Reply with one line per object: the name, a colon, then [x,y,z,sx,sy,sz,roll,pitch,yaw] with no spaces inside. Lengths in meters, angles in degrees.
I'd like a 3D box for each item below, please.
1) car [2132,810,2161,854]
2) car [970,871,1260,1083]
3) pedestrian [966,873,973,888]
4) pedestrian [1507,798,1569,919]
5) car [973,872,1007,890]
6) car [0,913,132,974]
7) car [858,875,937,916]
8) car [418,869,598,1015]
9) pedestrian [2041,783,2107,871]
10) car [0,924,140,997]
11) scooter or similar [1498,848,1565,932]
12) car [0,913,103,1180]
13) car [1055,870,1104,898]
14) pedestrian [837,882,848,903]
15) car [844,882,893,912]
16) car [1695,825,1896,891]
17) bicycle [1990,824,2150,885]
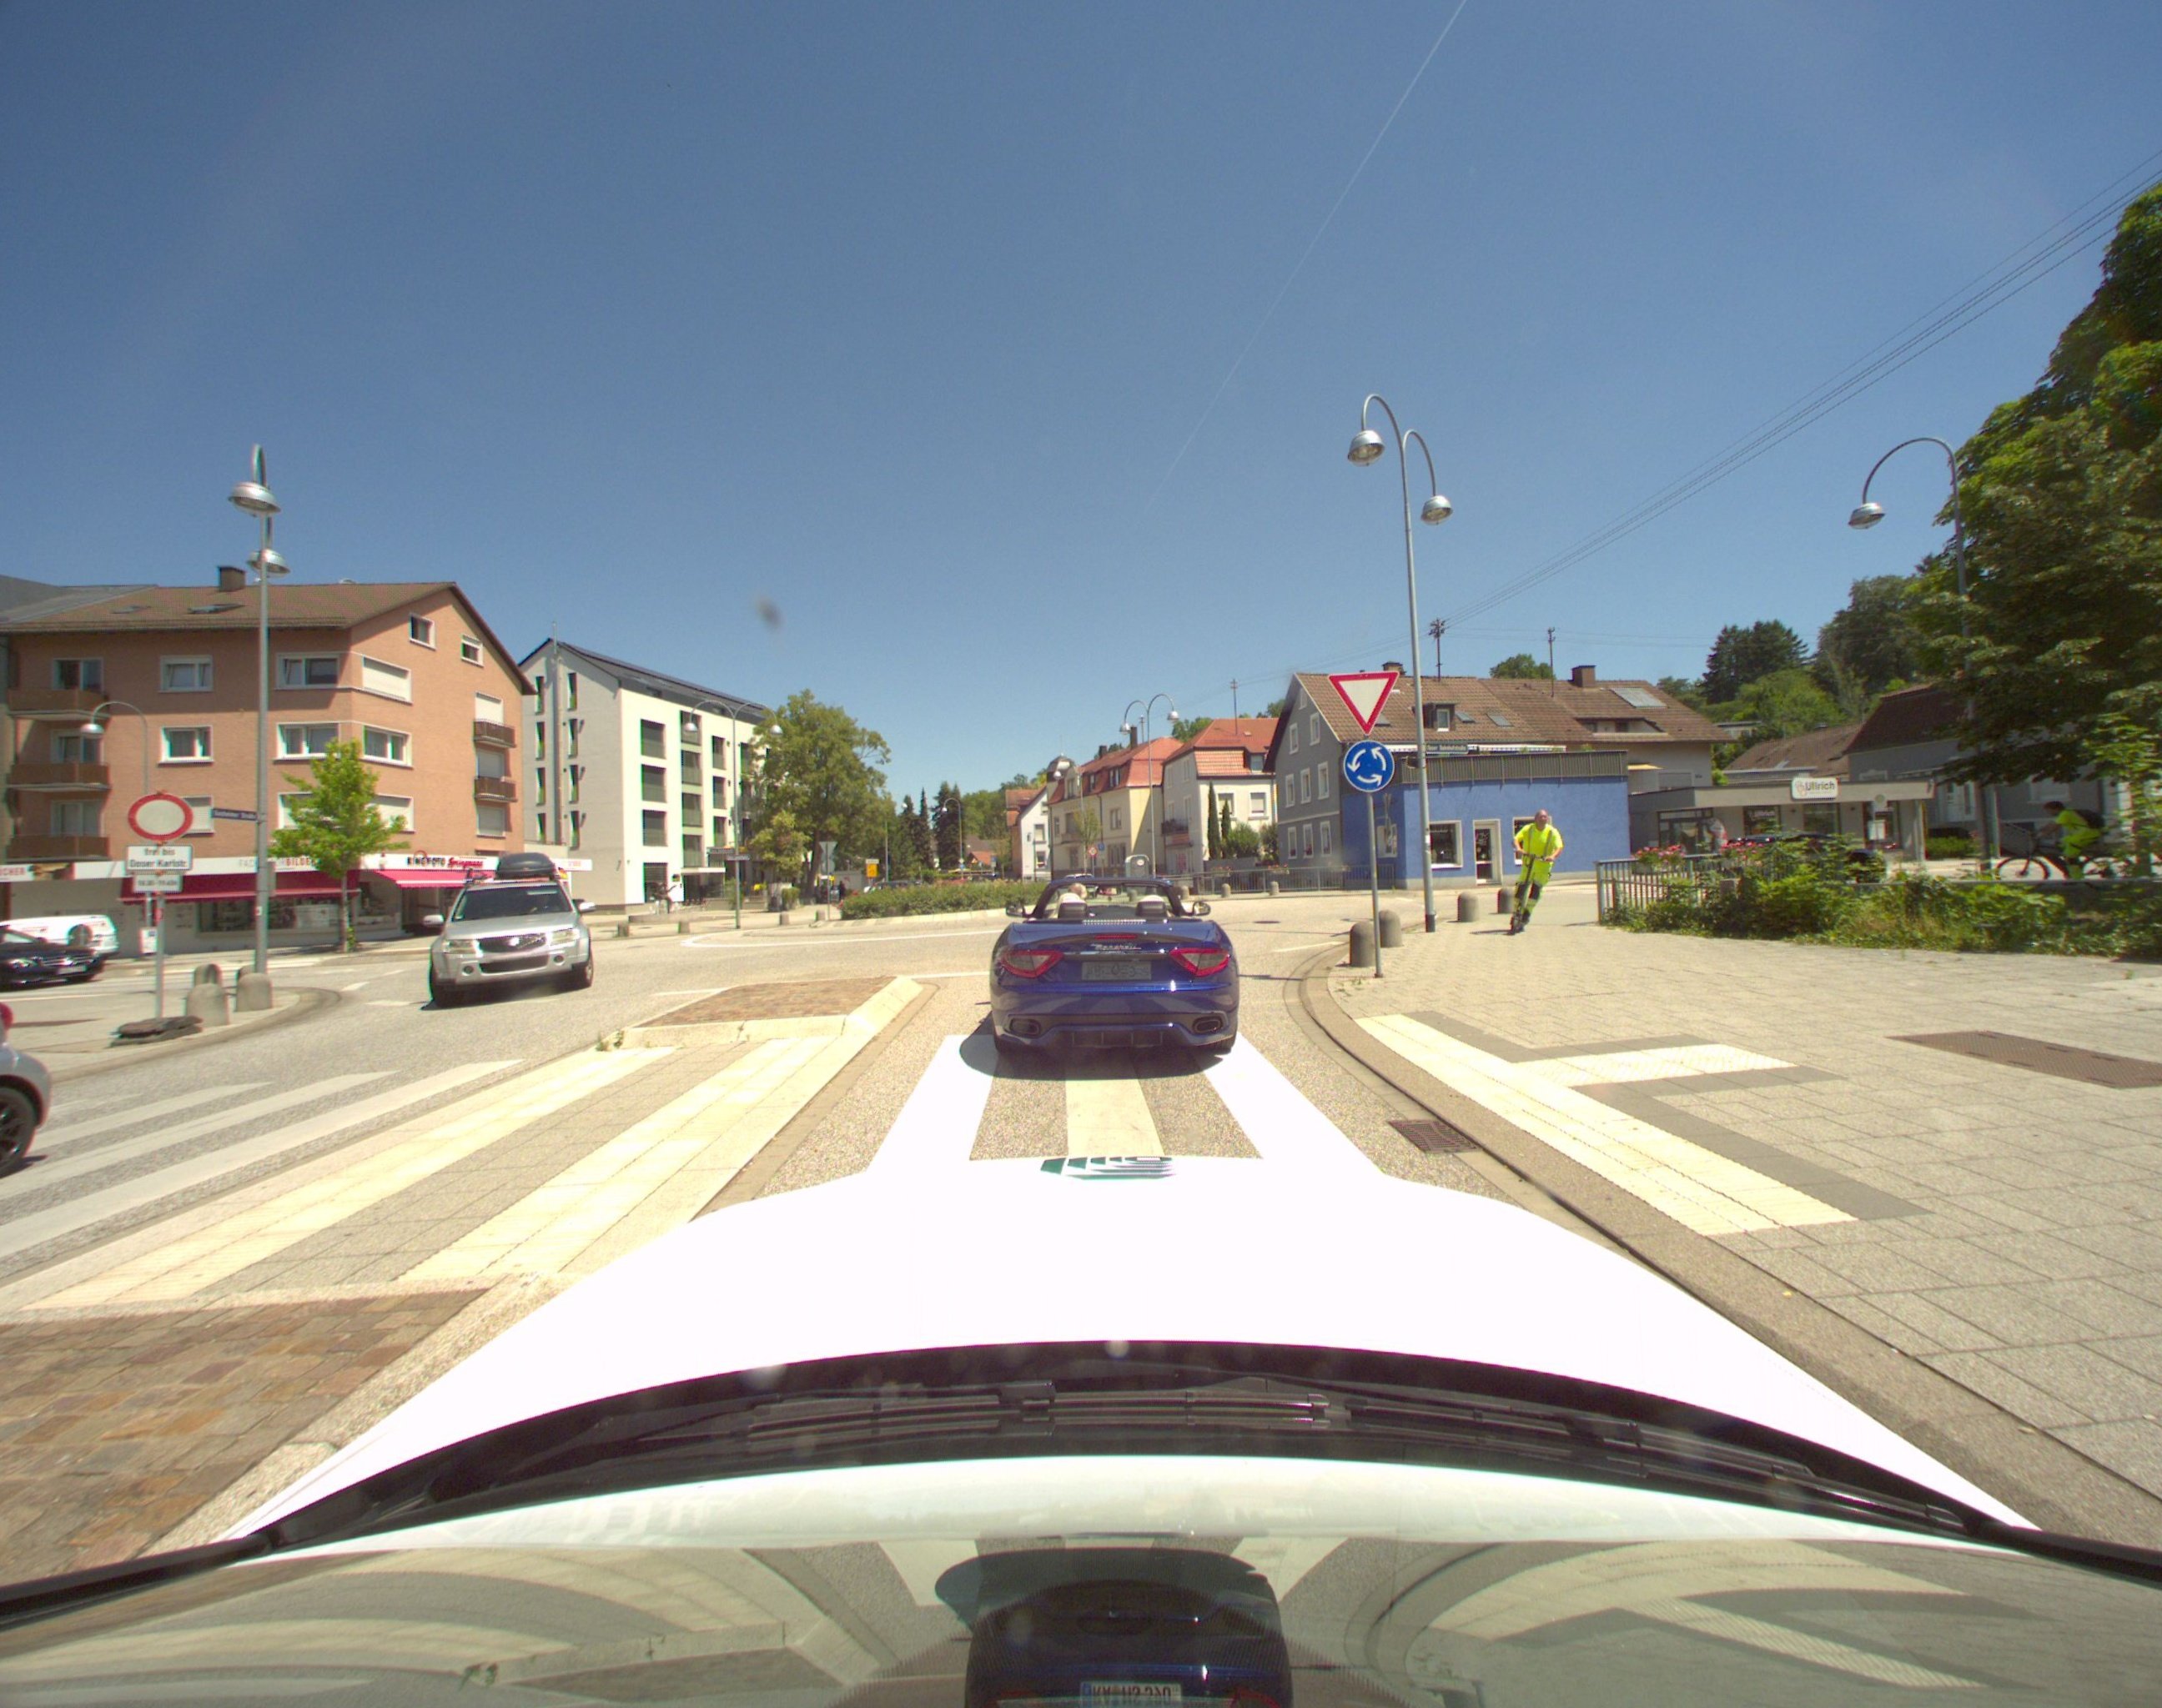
car: [40.545,-0.893,29.110,3.656,1.552,1.776,-3,-2,-2]
car: [0.341,0.872,7.575,1.902,1.360,4.288,-2,-1,3]
pedestrian: [-12.412,2.955,90.662,0.614,1.585,0.582,-2,-1,-25]
pedestrian: [7.140,0.071,12.724,0.671,1.799,0.743,-5,-1,33]
car: [-8.820,2.621,78.871,1.861,1.588,3.962,-3,-1,-28]
car: [-34.488,2.967,26.722,3.994,1.750,1.793,-3,-1,-15]
car: [-8.313,1.851,37.310,1.784,1.642,4.075,-3,-2,15]
car: [-8.724,1.240,12.581,1.846,1.688,4.157,-6,0,-34]
pedestrian: [19.109,-0.510,15.691,0.751,1.632,0.710,-2,-2,-41]
car: [-25.629,2.606,18.969,4.506,1.403,1.769,-4,1,-18]
scooter or similar: [7.023,0.545,12.741,0.525,1.222,1.244,-3,-1,13]
car: [-6.576,1.116,3.239,1.577,1.450,3.455,-4,0,-13]
car: [-0.151,1.937,51.489,1.924,1.613,4.121,-3,-2,-18]
pedestrian: [-18.433,2.946,62.829,0.531,1.576,0.564,-3,-1,12]
car: [-11.650,2.338,44.950,1.991,1.509,3.991,-1,-1,-6]
car: [19.730,0.100,22.587,4.244,1.547,1.807,-3,0,-7]
bicycle: [19.075,0.030,15.756,0.749,1.083,1.832,-2,-1,-29]
